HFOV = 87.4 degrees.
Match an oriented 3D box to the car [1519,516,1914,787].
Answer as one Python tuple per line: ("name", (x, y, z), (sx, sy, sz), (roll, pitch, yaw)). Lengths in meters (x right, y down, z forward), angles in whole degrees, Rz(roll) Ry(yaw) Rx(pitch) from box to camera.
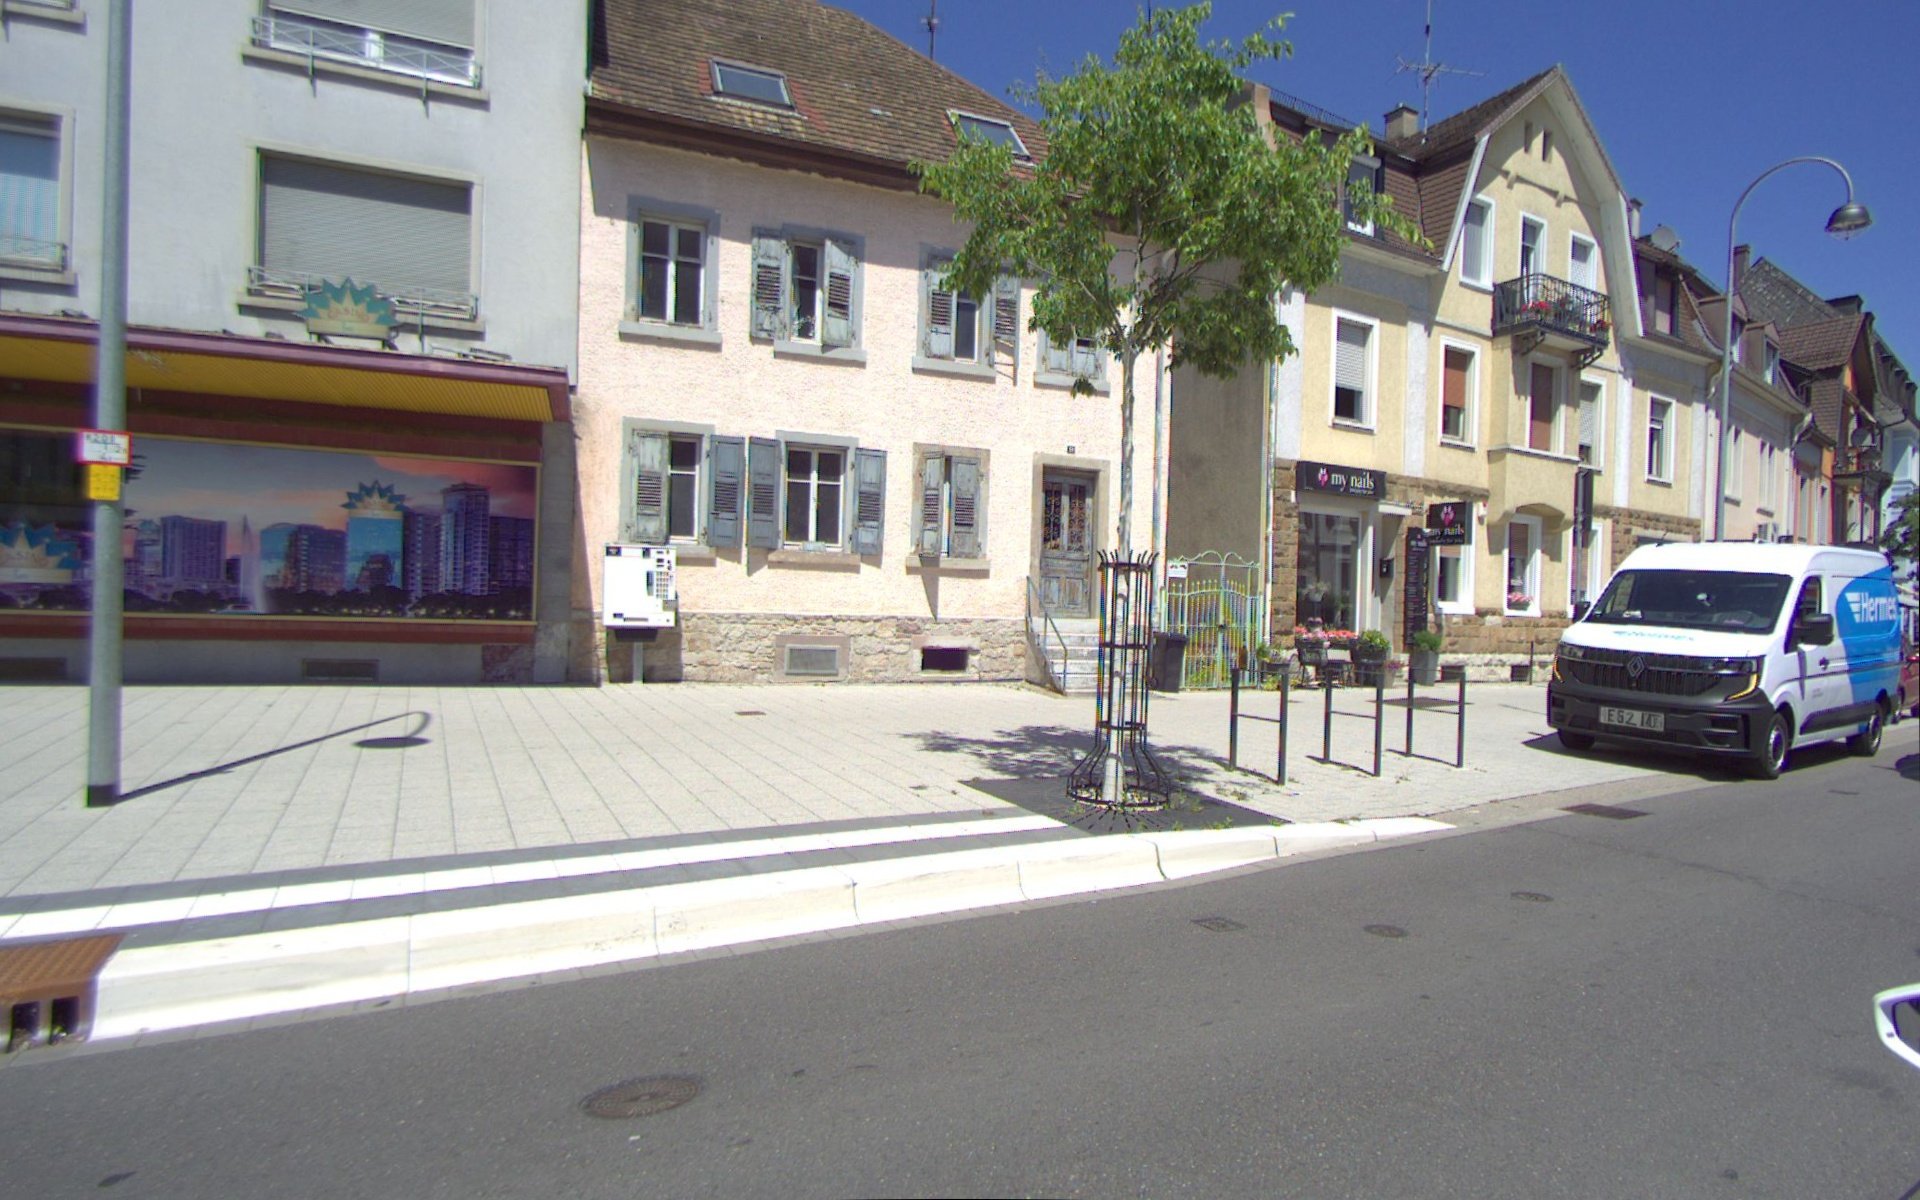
("car", (9.025, 0.507, 11.799), (5.450, 2.531, 2.078), (2, 2, -36))

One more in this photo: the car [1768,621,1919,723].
("car", (15.586, 1.211, 17.553), (3.486, 1.541, 1.547), (3, 0, -39))

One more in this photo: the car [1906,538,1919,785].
("car", (11.940, 0.651, 10.504), (5.198, 2.393, 2.141), (2, -1, -37))
